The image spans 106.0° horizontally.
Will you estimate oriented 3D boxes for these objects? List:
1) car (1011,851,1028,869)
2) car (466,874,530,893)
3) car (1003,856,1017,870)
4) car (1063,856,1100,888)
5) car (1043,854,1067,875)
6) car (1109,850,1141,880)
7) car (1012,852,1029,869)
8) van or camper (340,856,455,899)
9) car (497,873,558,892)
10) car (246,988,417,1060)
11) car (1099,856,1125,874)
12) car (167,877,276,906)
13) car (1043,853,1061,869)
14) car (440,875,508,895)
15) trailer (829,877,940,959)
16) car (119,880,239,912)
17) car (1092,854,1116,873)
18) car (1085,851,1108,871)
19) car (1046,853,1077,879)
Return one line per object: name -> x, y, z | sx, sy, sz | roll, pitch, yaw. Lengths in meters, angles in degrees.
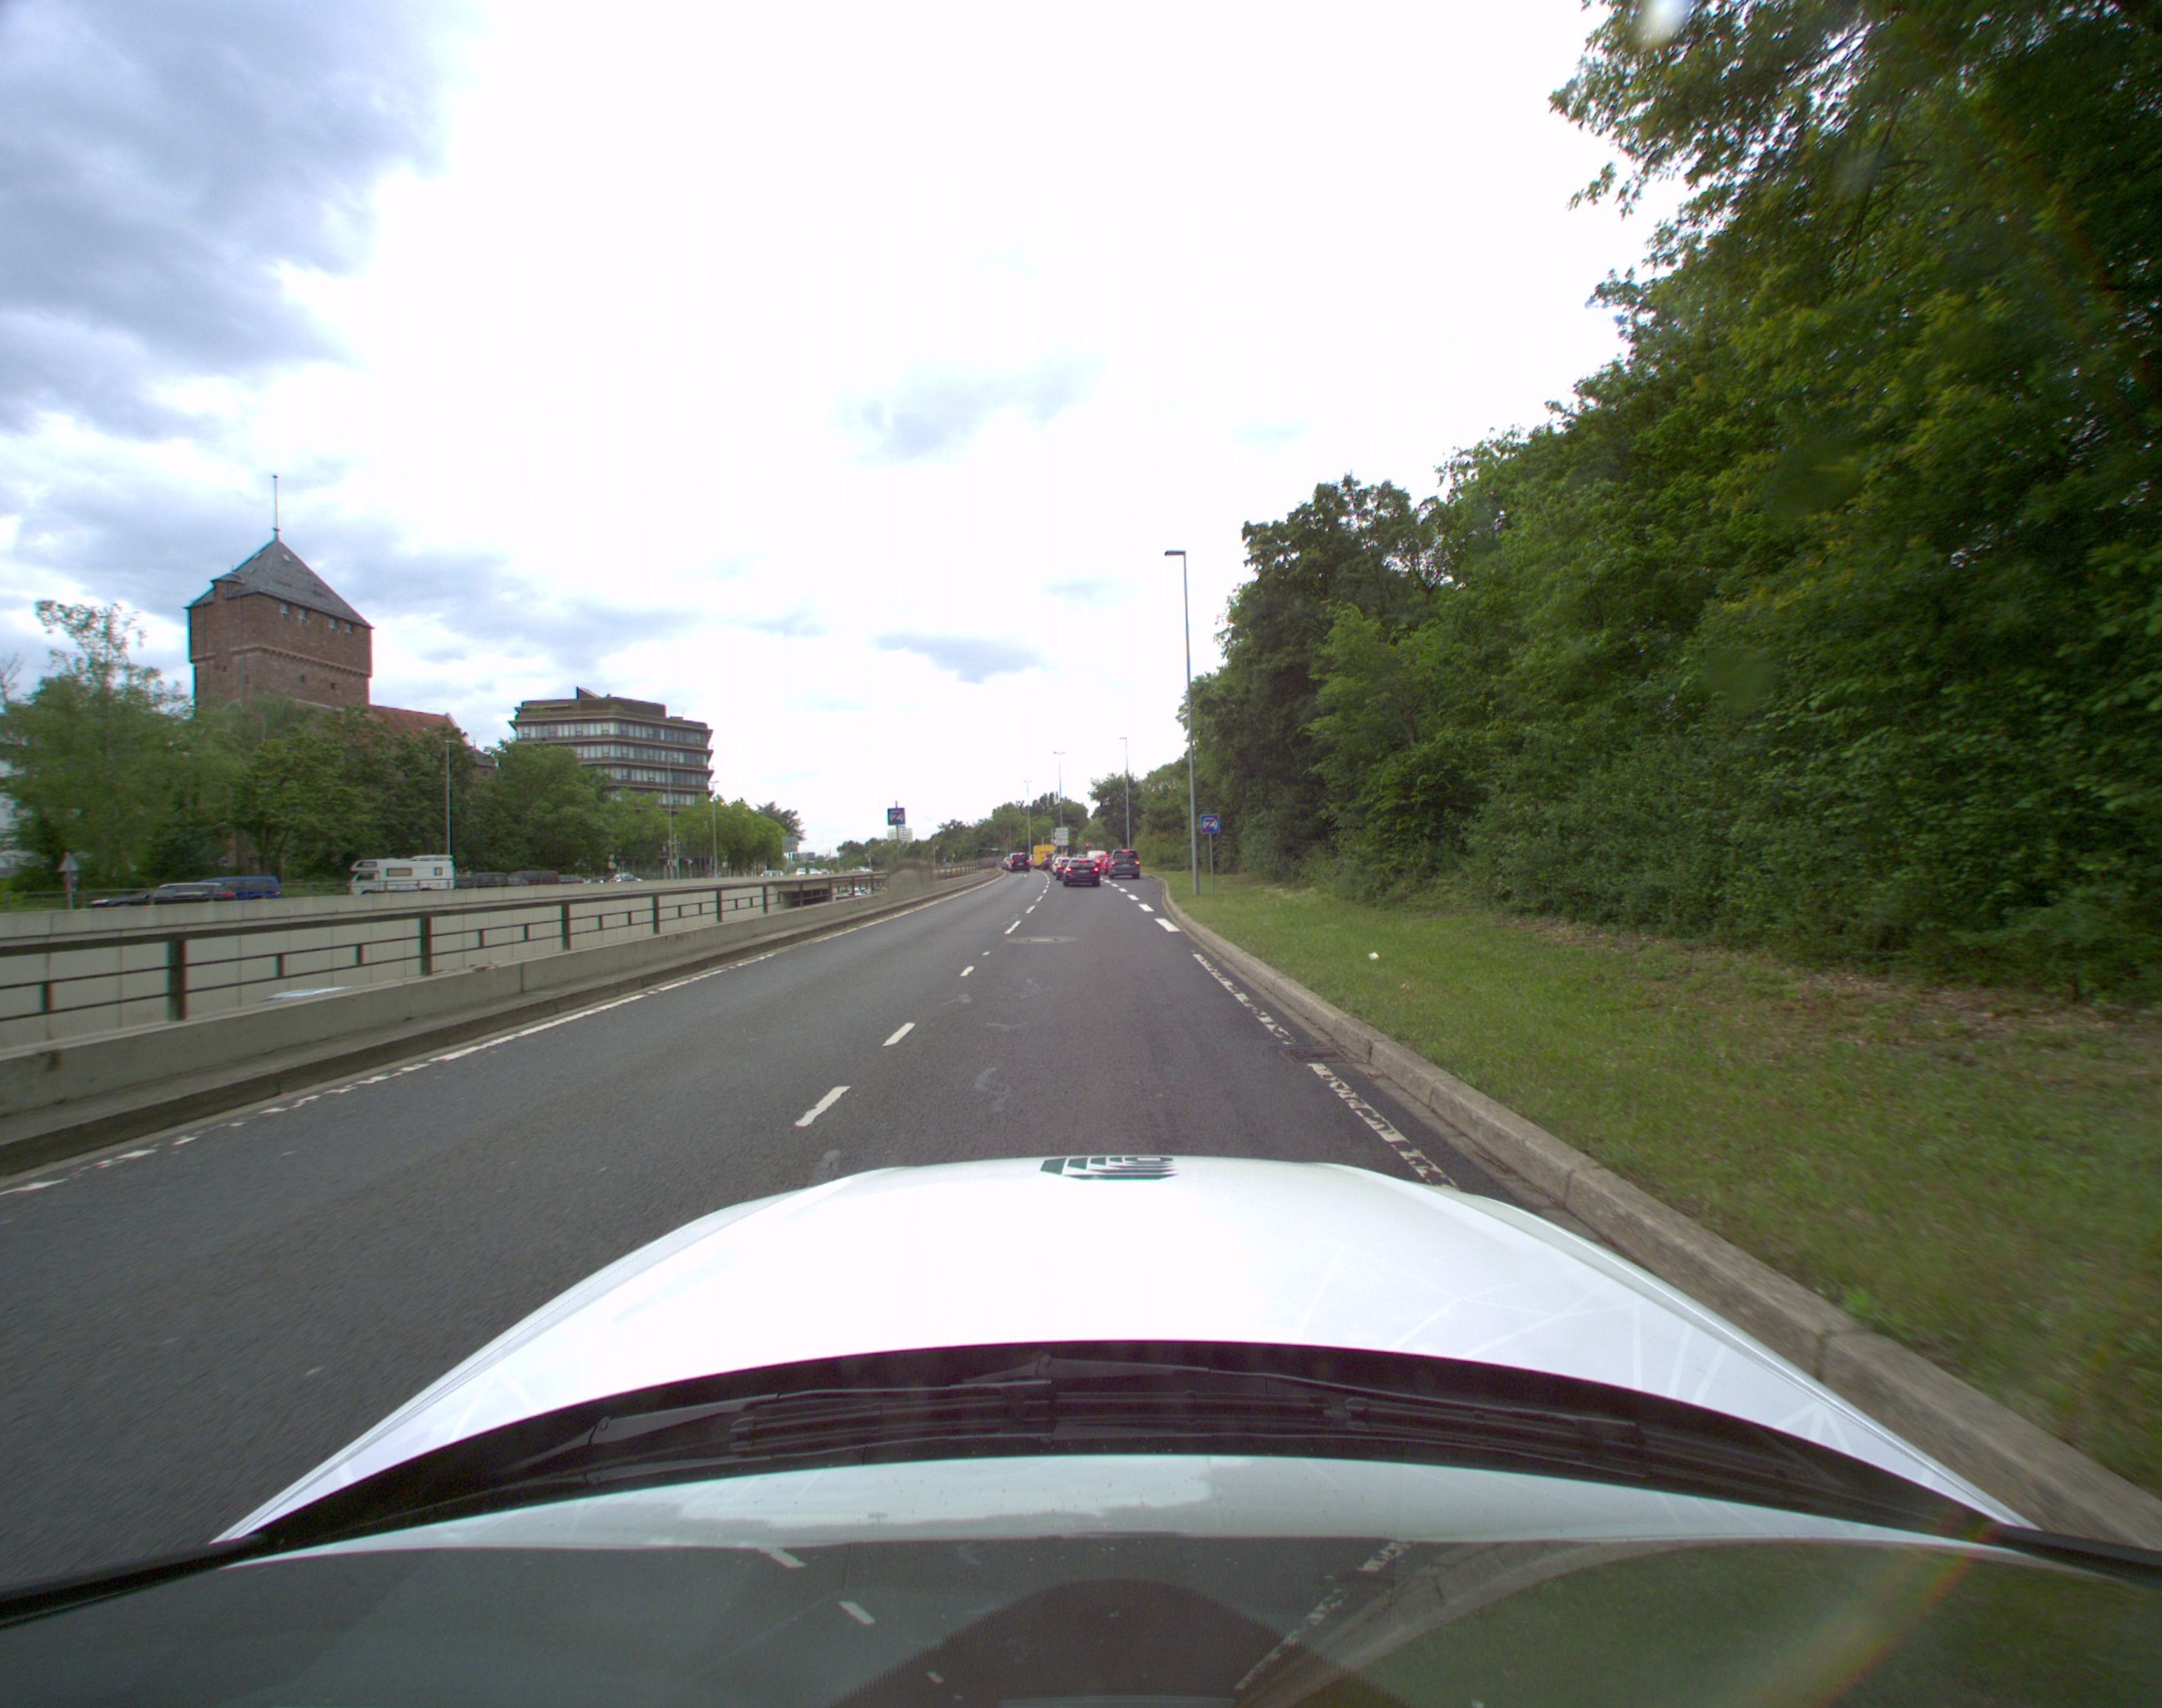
car -> -7.000, 0.707, 92.579 | 1.881, 1.987, 4.424 | -1, -1, -4
car -> -47.582, 2.393, 66.504 | 1.608, 1.441, 4.025 | -1, -1, 41
car -> -8.723, 1.147, 100.176 | 1.621, 1.701, 4.288 | -1, -1, -5
car -> 0.009, 0.879, 41.737 | 1.743, 1.426, 4.460 | -2, 0, 0
car -> -2.182, 0.860, 67.217 | 1.881, 1.592, 4.424 | -1, -1, -4
car -> 2.882, 0.706, 53.907 | 1.892, 1.884, 4.415 | -1, -1, 0
car -> -6.283, 0.661, 84.408 | 1.621, 1.701, 4.288 | -1, -1, -5
van or camper -> -46.979, 1.573, 56.045 | 5.958, 2.810, 2.120 | 0, -1, -43
car -> -47.546, 2.432, 70.013 | 1.608, 1.441, 4.025 | -1, -1, 41
car -> -23.334, 5.258, 25.568 | 1.617, 1.441, 3.899 | -3, -1, 2
car -> 2.480, 0.880, 65.079 | 1.879, 1.356, 3.998 | -1, -1, -1
car -> -46.688, 2.009, 44.298 | 1.608, 1.441, 4.025 | -1, -1, 41
car -> -3.223, 0.775, 89.473 | 1.881, 1.700, 4.424 | -1, -1, -4
car -> -47.262, 2.356, 63.473 | 1.608, 1.441, 4.025 | -1, -1, 41
trailer -> -12.001, 3.684, 52.035 | 2.842, 4.037, 16.005 | -2, -1, 1
car -> -45.719, 2.096, 41.369 | 1.608, 1.441, 4.025 | -1, -1, 41
car -> 1.950, 0.843, 70.418 | 1.879, 1.545, 3.998 | -1, -1, -1
car -> 1.431, 0.662, 78.952 | 1.881, 1.880, 4.424 | -1, -1, -4
car -> -1.295, 0.760, 52.923 | 1.881, 1.592, 4.424 | -1, -1, -4
